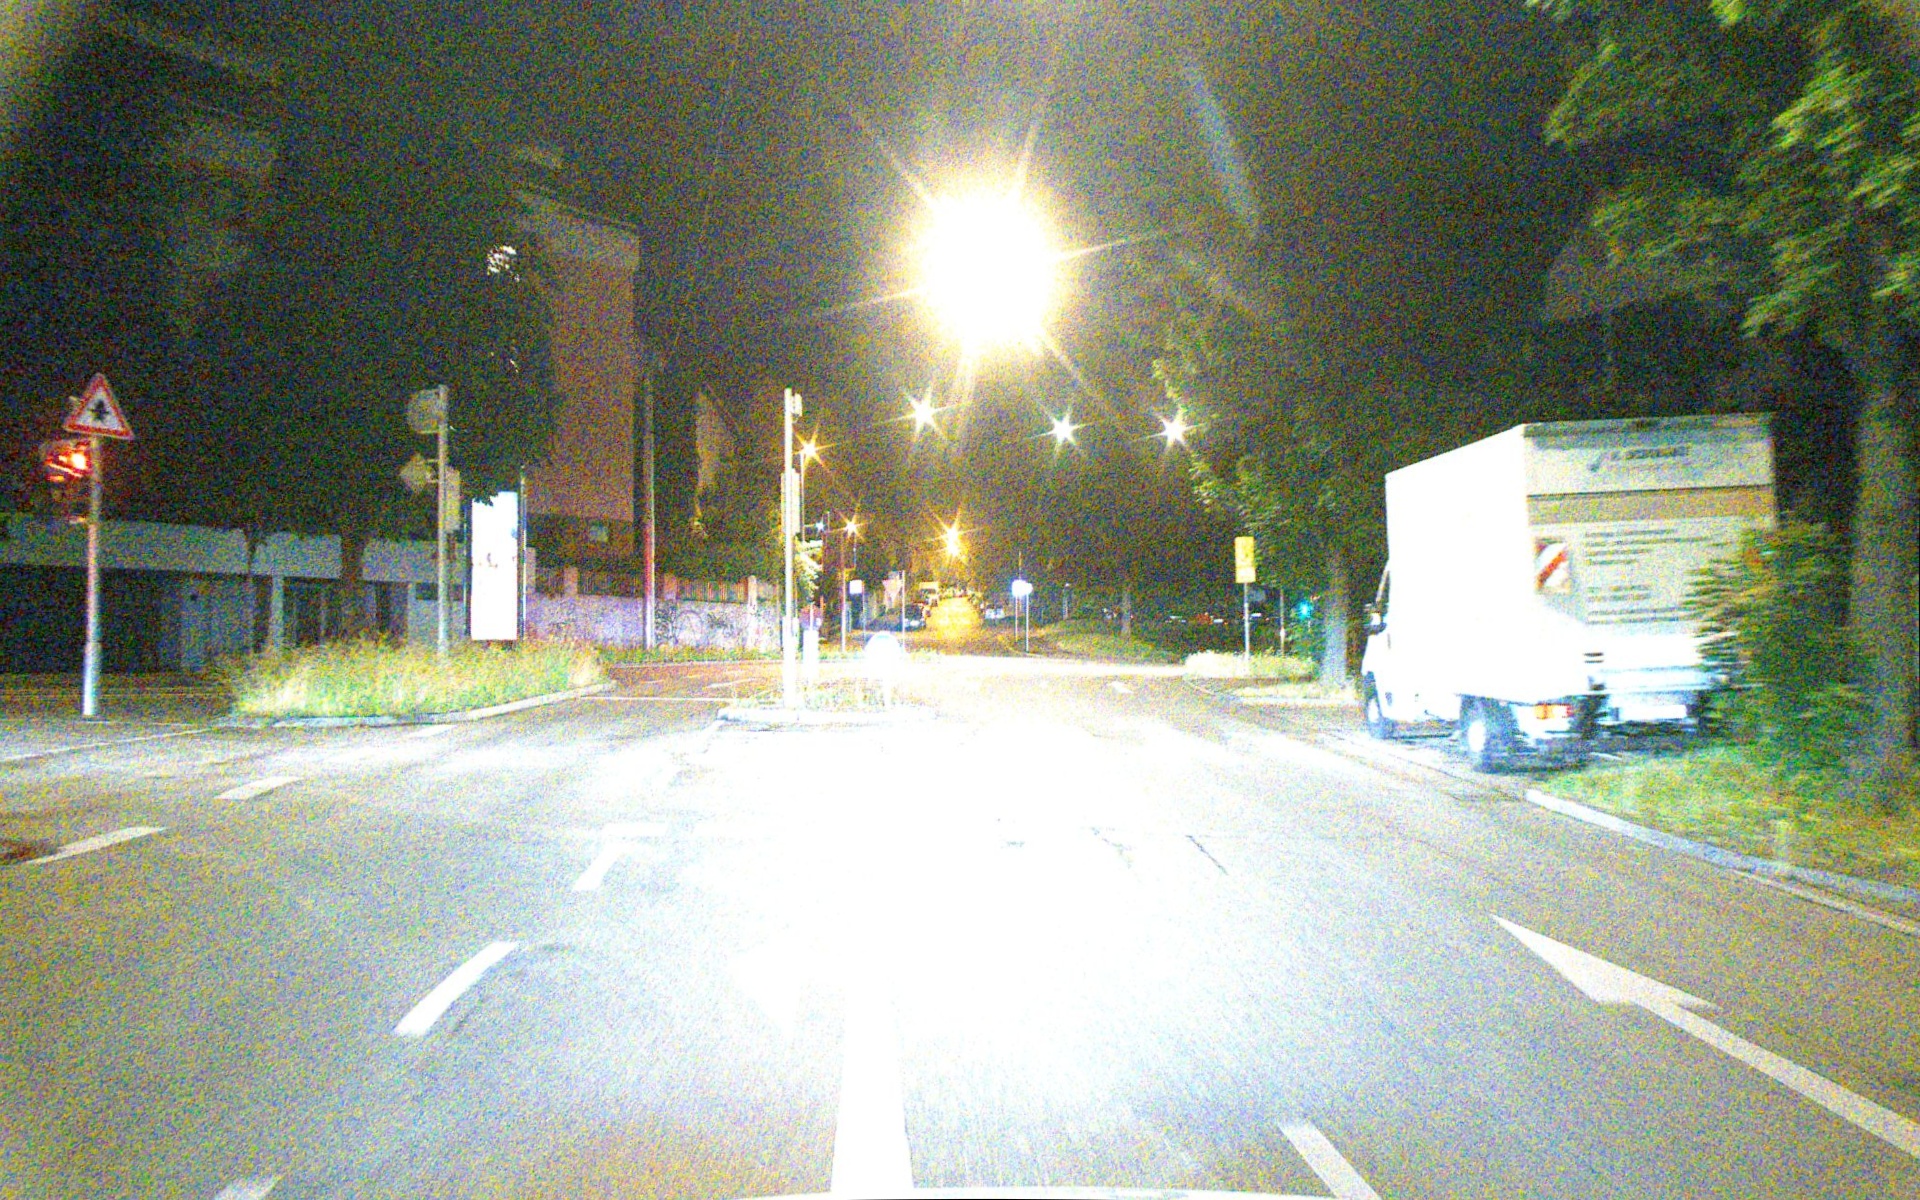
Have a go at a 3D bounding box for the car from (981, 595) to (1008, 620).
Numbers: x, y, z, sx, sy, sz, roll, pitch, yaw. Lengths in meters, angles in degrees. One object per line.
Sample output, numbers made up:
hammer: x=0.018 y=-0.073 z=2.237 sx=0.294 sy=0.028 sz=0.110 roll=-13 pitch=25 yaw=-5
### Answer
car: x=2.592 y=0.573 z=125.638 sx=1.953 sy=1.800 sz=3.999 roll=1 pitch=0 yaw=-1

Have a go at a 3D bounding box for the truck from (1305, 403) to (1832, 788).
truck: x=5.771 y=-0.011 z=17.209 sx=2.708 sy=3.097 sz=7.034 roll=-2 pitch=-1 yaw=-1
